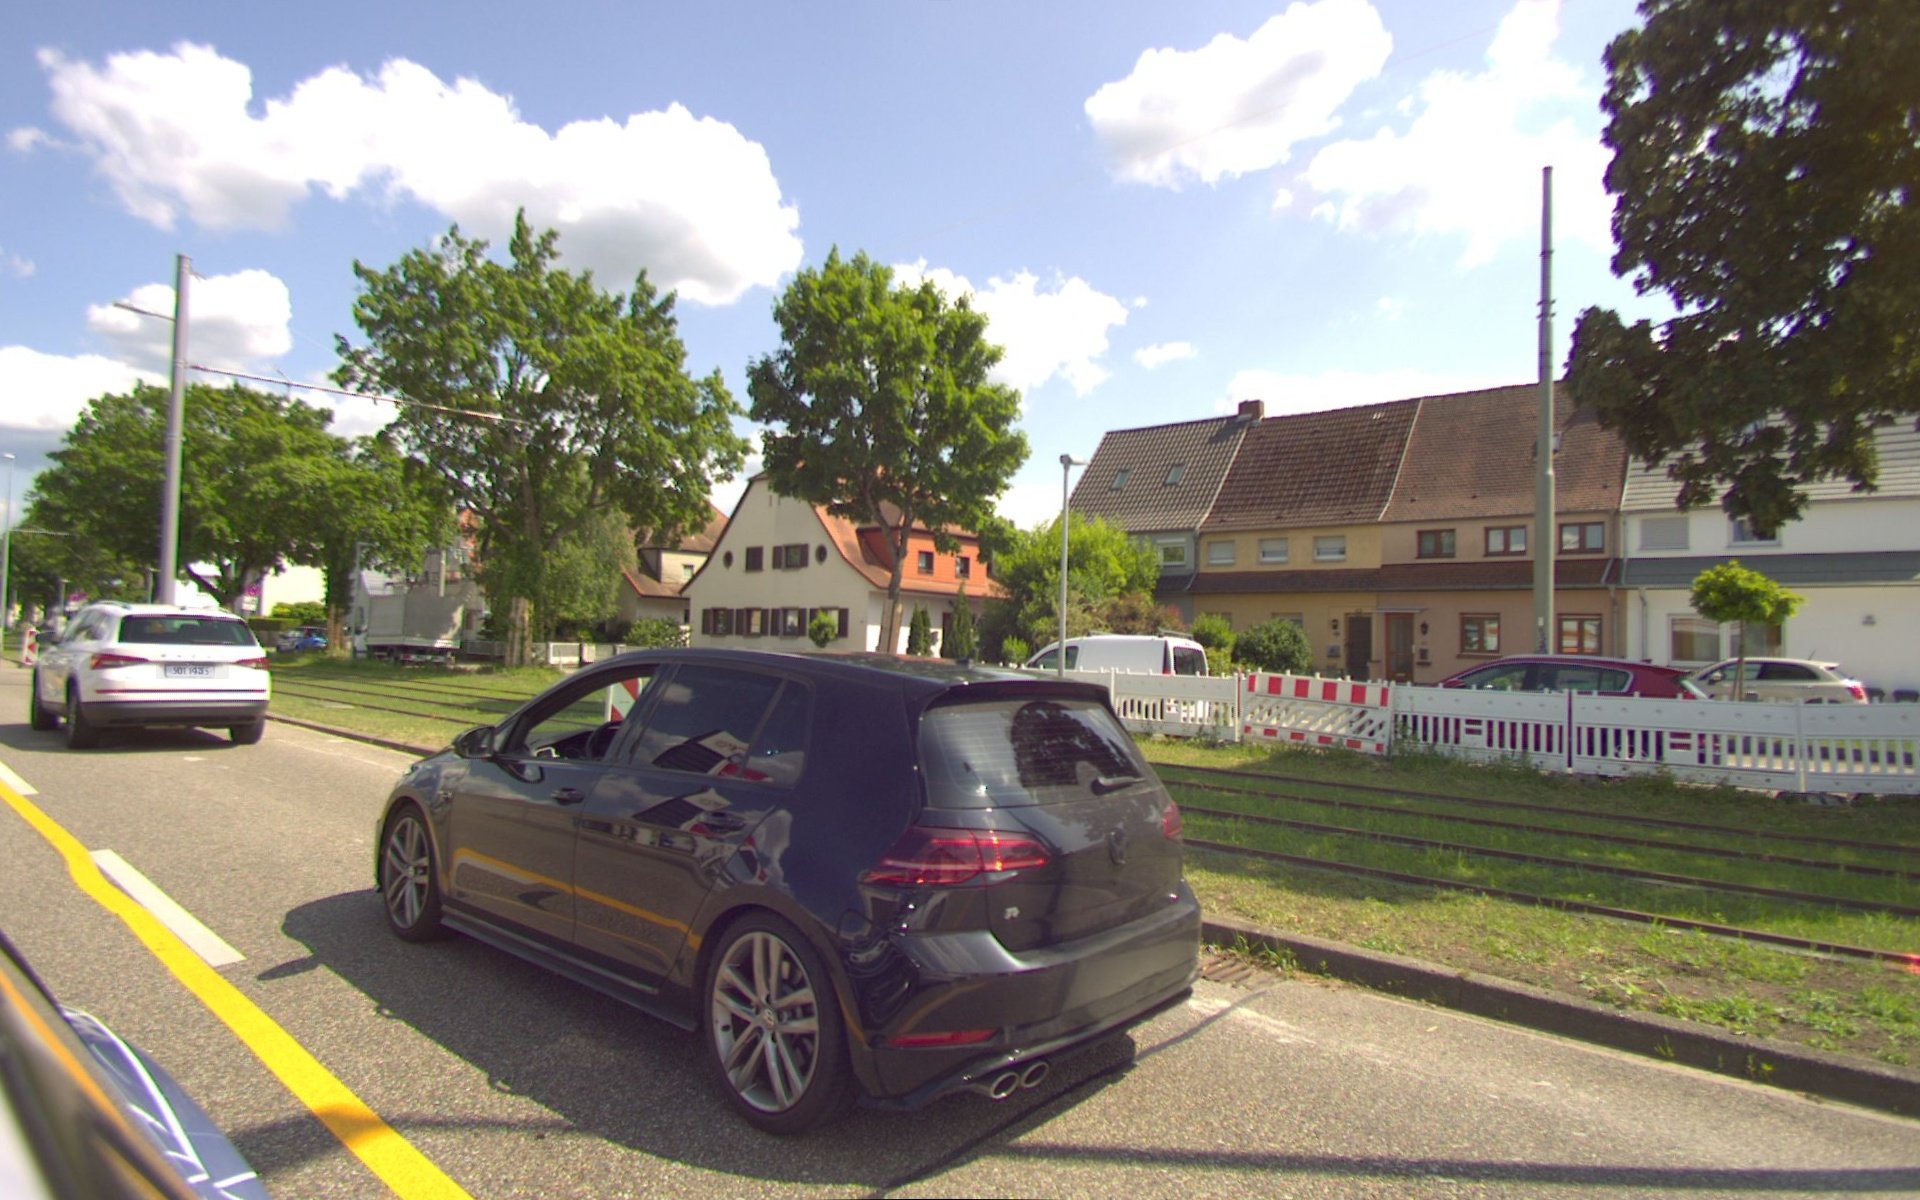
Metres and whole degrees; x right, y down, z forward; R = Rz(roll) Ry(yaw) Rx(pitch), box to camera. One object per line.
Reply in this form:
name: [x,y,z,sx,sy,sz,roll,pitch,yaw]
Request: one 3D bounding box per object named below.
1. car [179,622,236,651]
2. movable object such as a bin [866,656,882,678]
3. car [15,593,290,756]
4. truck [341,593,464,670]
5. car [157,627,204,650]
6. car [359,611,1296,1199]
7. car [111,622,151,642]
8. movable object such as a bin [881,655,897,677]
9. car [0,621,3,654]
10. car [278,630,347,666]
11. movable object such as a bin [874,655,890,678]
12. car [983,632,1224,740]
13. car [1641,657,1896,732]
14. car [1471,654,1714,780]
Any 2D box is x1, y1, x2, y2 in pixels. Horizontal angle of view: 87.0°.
car: [-43.186,2.078,58.031,4.522,1.524,1.685,0,-1,41]
movable object such as a bin: [-3.442,2.678,40.539,0.458,0.874,0.469,0,-1,39]
car: [-10.163,0.825,12.612,4.460,1.679,1.805,0,-4,41]
truck: [-22.004,1.175,39.842,5.949,2.826,2.340,0,-1,41]
car: [-48.041,2.345,62.359,3.785,1.251,1.603,0,-1,41]
car: [-0.817,0.843,4.237,3.857,1.423,1.675,0,-5,41]
car: [-59.515,2.276,72.624,3.998,1.311,1.615,0,-1,41]
movable object such as a bin: [-2.889,2.695,41.290,0.458,0.874,0.469,0,-1,39]
car: [-28.908,1.267,28.851,4.480,1.456,1.802,-1,-5,40]
car: [-29.970,2.176,46.791,3.929,1.524,1.651,0,-1,41]
movable object such as a bin: [-3.164,2.687,40.916,0.458,0.874,0.469,0,-1,39]
car: [2.500,1.471,18.187,3.999,1.638,1.635,0,-4,41]
car: [17.022,1.960,21.492,4.118,1.285,1.518,0,-4,41]
car: [8.010,1.433,12.907,2.450,1.358,1.060,0,-4,45]
